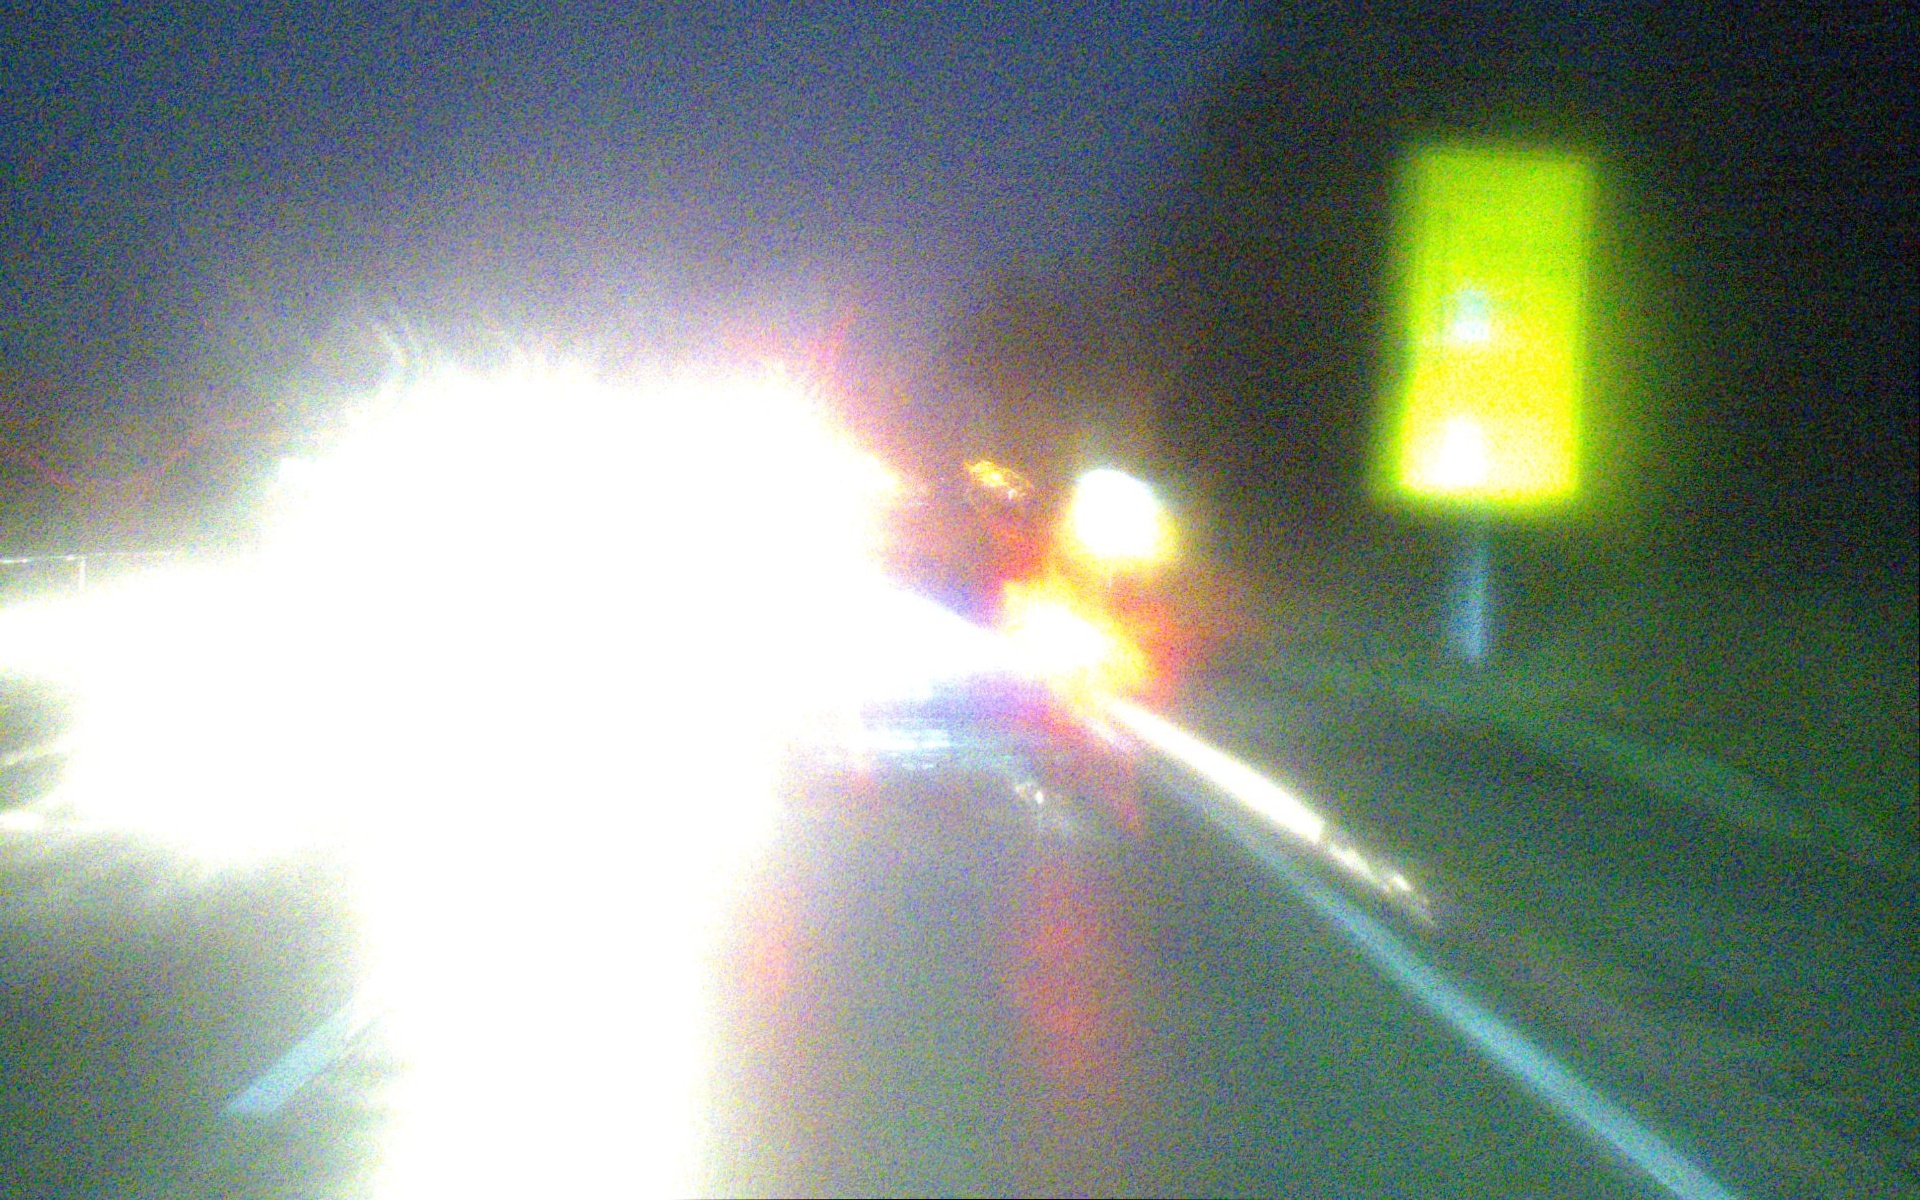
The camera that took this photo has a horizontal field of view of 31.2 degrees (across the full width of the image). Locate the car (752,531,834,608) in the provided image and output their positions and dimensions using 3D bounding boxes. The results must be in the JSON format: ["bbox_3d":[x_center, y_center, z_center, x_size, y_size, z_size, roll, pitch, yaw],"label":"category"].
[{"bbox_3d":[-4.356,-0.806,89.989,1.993,1.908,4.000,2,1,-2],"label":"car"}]

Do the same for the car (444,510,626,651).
[{"bbox_3d":[-5.192,-0.283,42.489,1.862,1.539,4.230,1,2,-2],"label":"car"}]

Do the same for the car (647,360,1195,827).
[{"bbox_3d":[-0.403,-0.098,20.322,2.715,2.299,6.101,1,1,-4],"label":"car"}]
